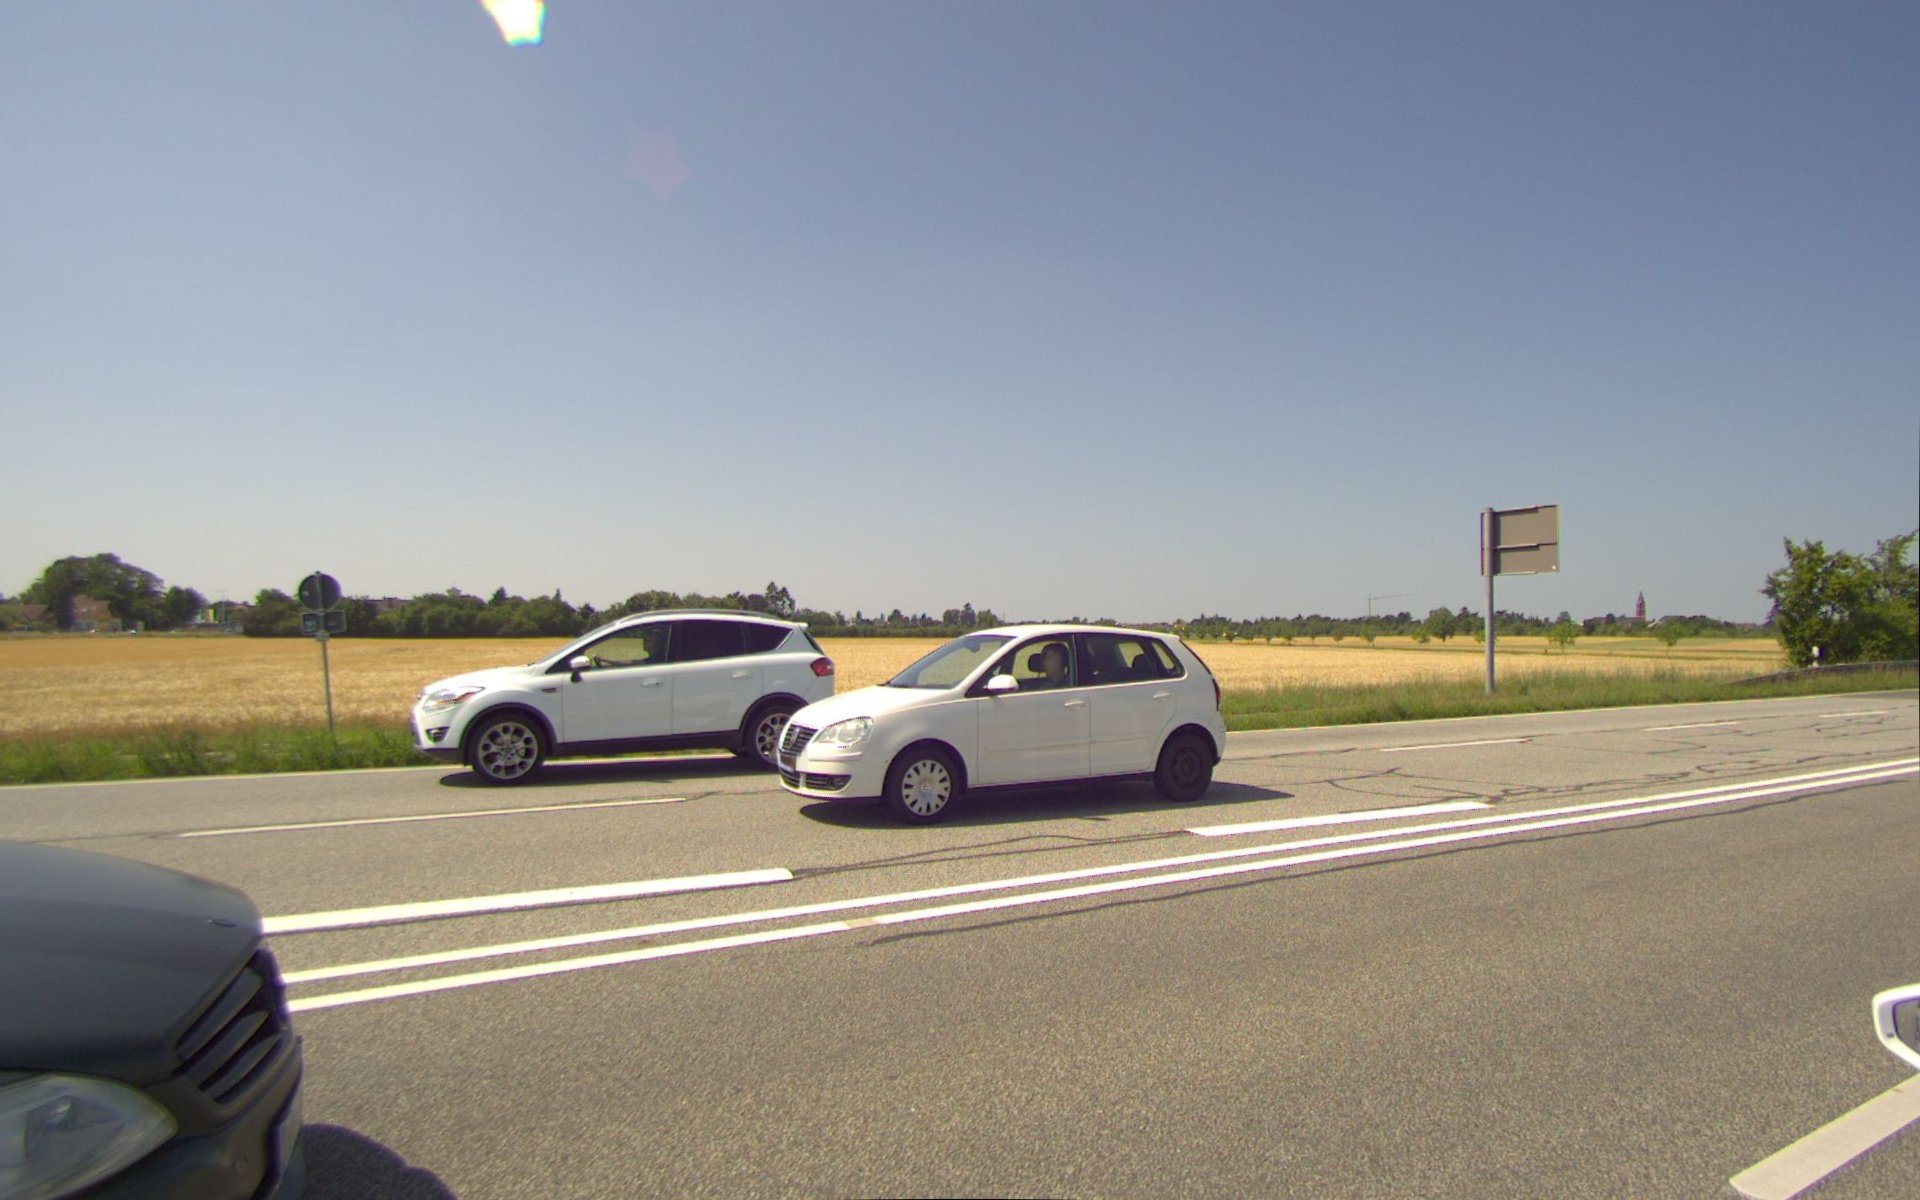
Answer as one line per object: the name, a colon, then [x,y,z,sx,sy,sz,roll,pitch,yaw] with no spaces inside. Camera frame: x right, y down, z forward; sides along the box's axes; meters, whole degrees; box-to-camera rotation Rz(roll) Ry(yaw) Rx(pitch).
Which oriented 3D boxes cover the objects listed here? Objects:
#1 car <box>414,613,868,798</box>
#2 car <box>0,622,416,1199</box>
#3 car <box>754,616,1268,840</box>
car: [-3.353,1.025,10.928,4.401,1.698,1.661,0,-3,-25]
car: [-3.364,0.768,1.096,4.820,1.469,1.802,1,0,-31]
car: [0.475,0.930,8.535,4.031,1.461,1.742,0,-3,-28]
